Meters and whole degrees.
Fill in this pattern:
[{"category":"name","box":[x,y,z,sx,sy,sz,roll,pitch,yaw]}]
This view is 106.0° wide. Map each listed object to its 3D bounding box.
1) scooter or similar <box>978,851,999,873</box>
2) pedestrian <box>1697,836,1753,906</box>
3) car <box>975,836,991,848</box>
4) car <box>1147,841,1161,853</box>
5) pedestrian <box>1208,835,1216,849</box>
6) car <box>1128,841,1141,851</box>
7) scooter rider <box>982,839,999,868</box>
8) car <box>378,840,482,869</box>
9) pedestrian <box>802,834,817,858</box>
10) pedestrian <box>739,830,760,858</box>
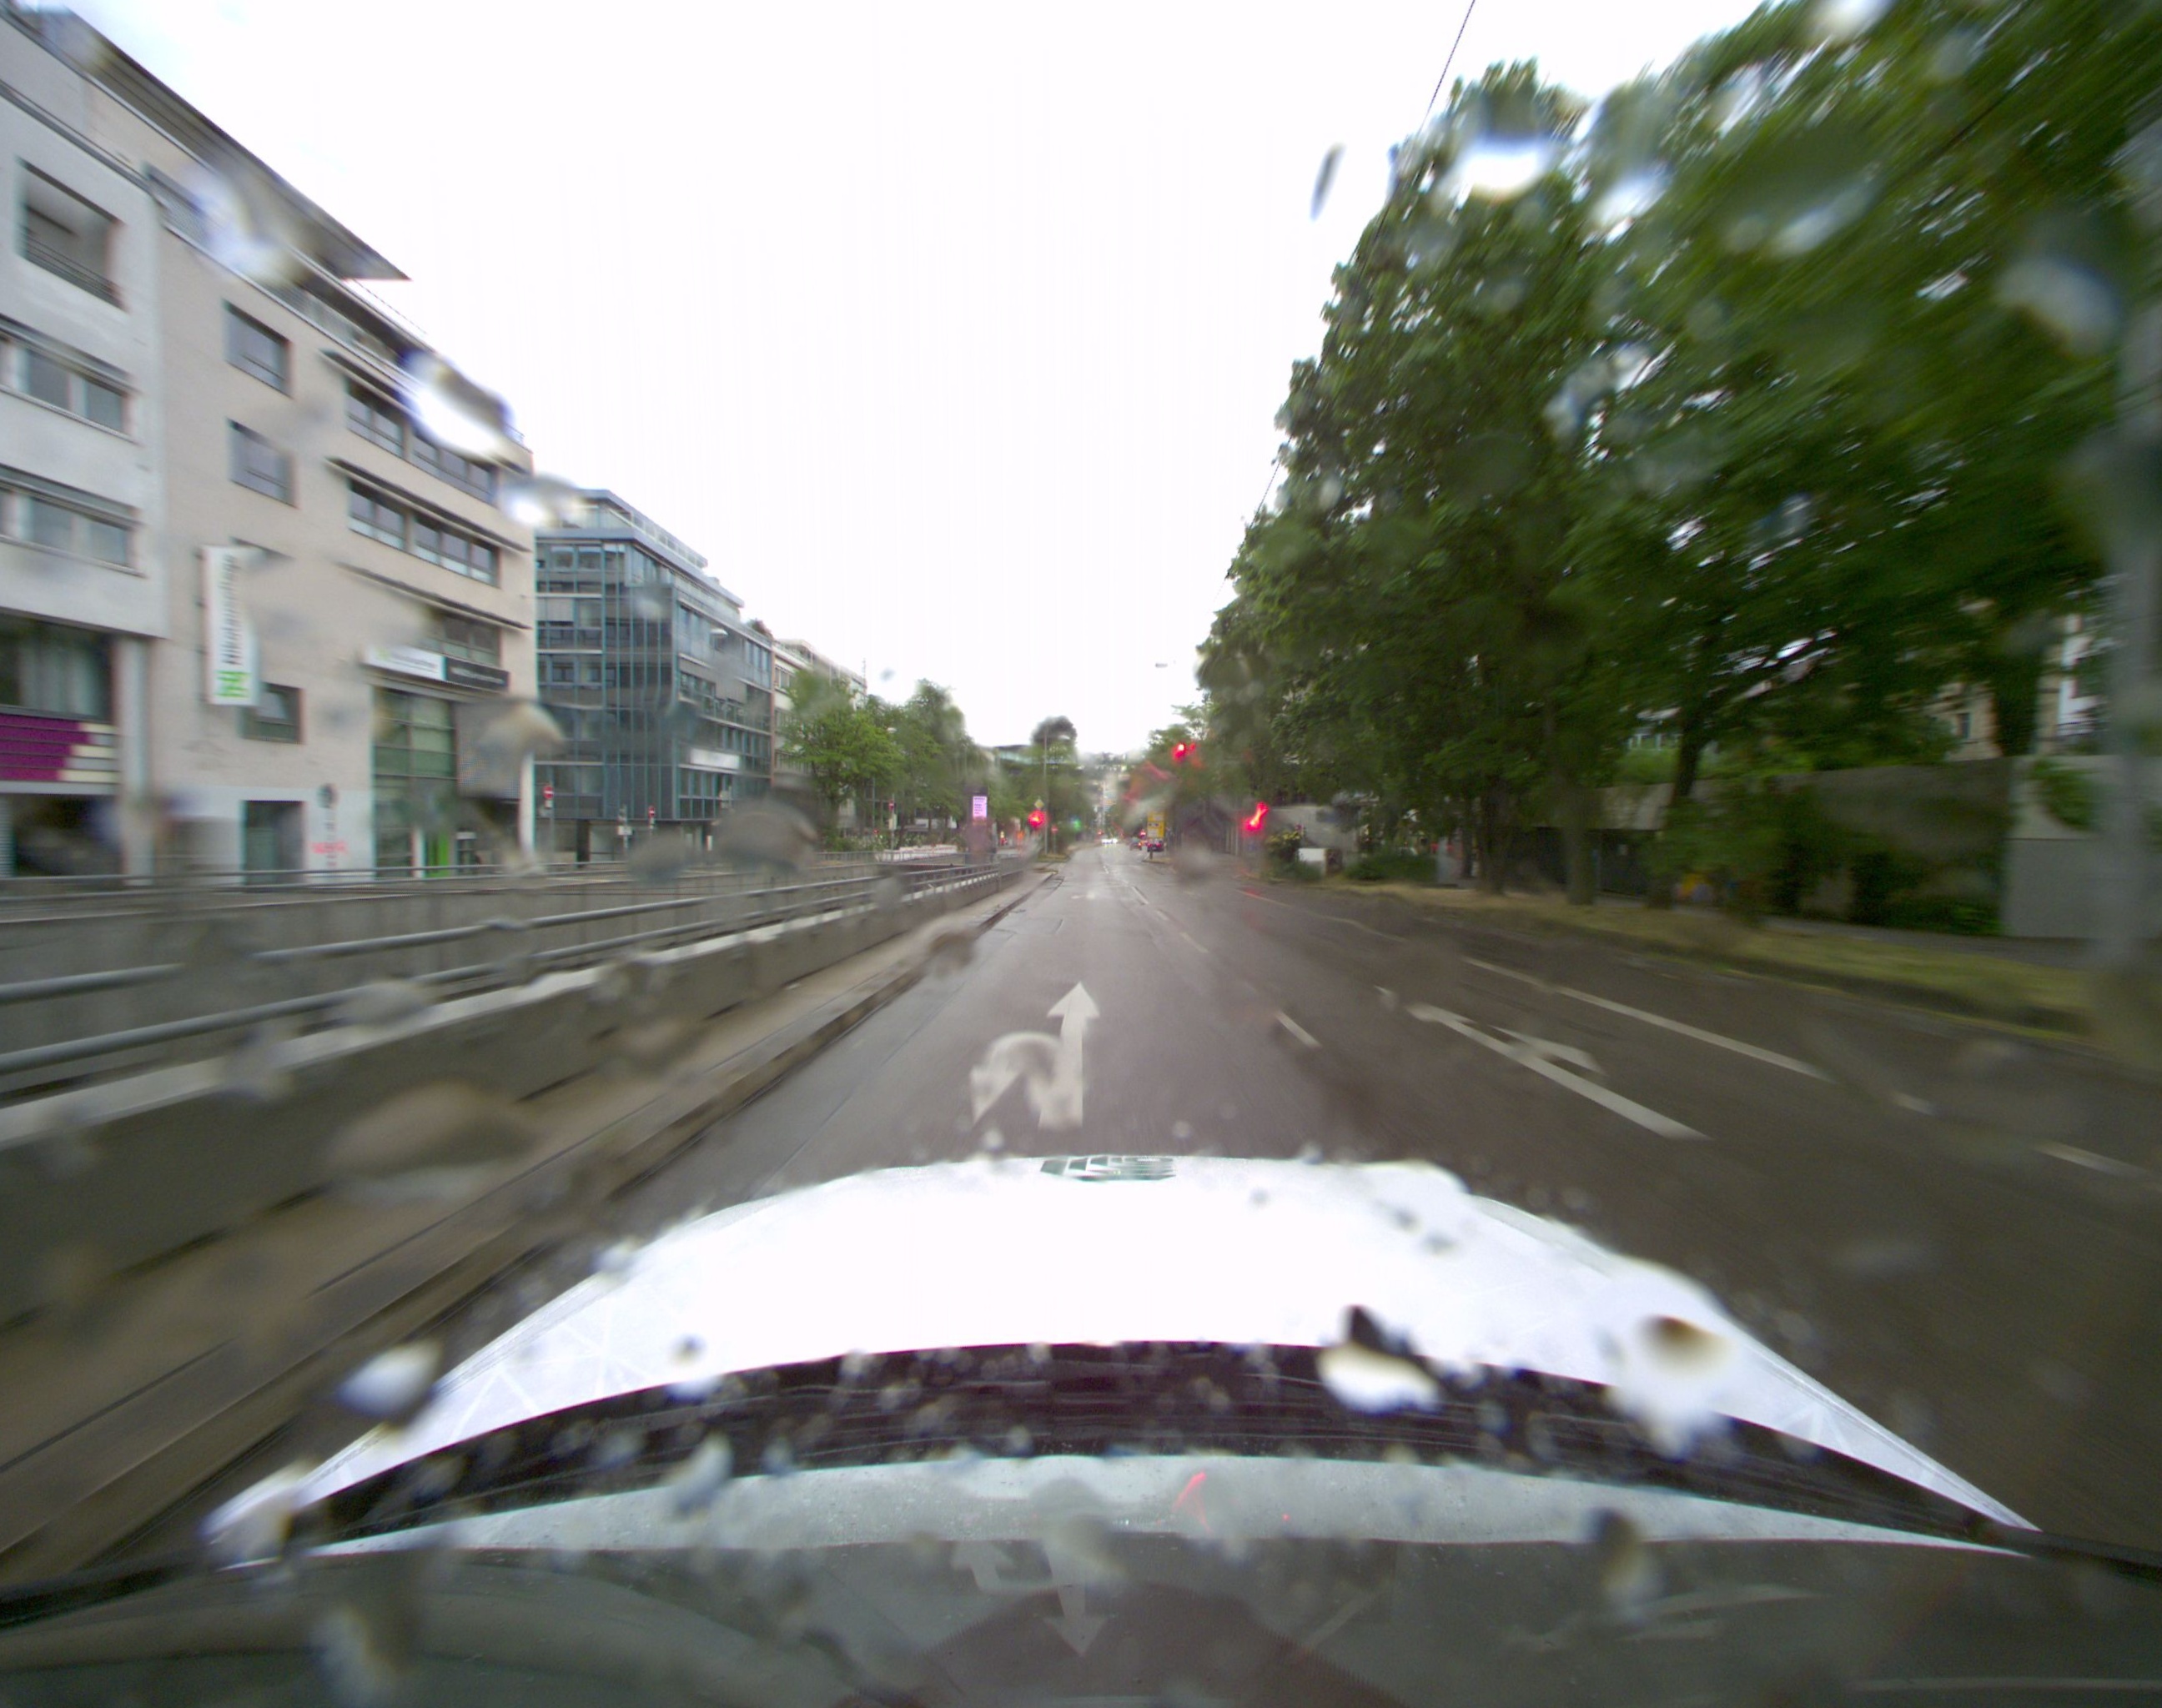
[{"category":"scooter or similar","box":[-6.280,0.552,55.150,0.550,1.418,1.935,1,1,-33]},{"category":"pedestrian","box":[17.539,0.441,22.200,0.802,1.864,1.059,0,0,10]},{"category":"car","box":[-13.857,-1.663,115.234,1.775,1.555,3.894,2,3,0]},{"category":"car","box":[10.302,-0.985,115.258,1.892,1.684,3.916,2,1,5]},{"category":"pedestrian","box":[15.275,-1.425,95.063,0.783,1.557,0.533,2,0,3]},{"category":"car","box":[8.359,-1.301,127.111,1.740,1.519,4.107,1,1,1]},{"category":"scooter rider","box":[-6.122,-0.044,54.972,0.814,1.948,0.814,1,0,-34]},{"category":"car","box":[-33.369,0.025,41.802,3.869,1.426,1.812,1,0,2]},{"category":"pedestrian","box":[-21.803,-0.648,65.432,0.874,1.868,0.866,2,0,-2]},{"category":"pedestrian","box":[-22.954,-0.694,56.432,0.857,1.868,0.964,2,0,19]}]
